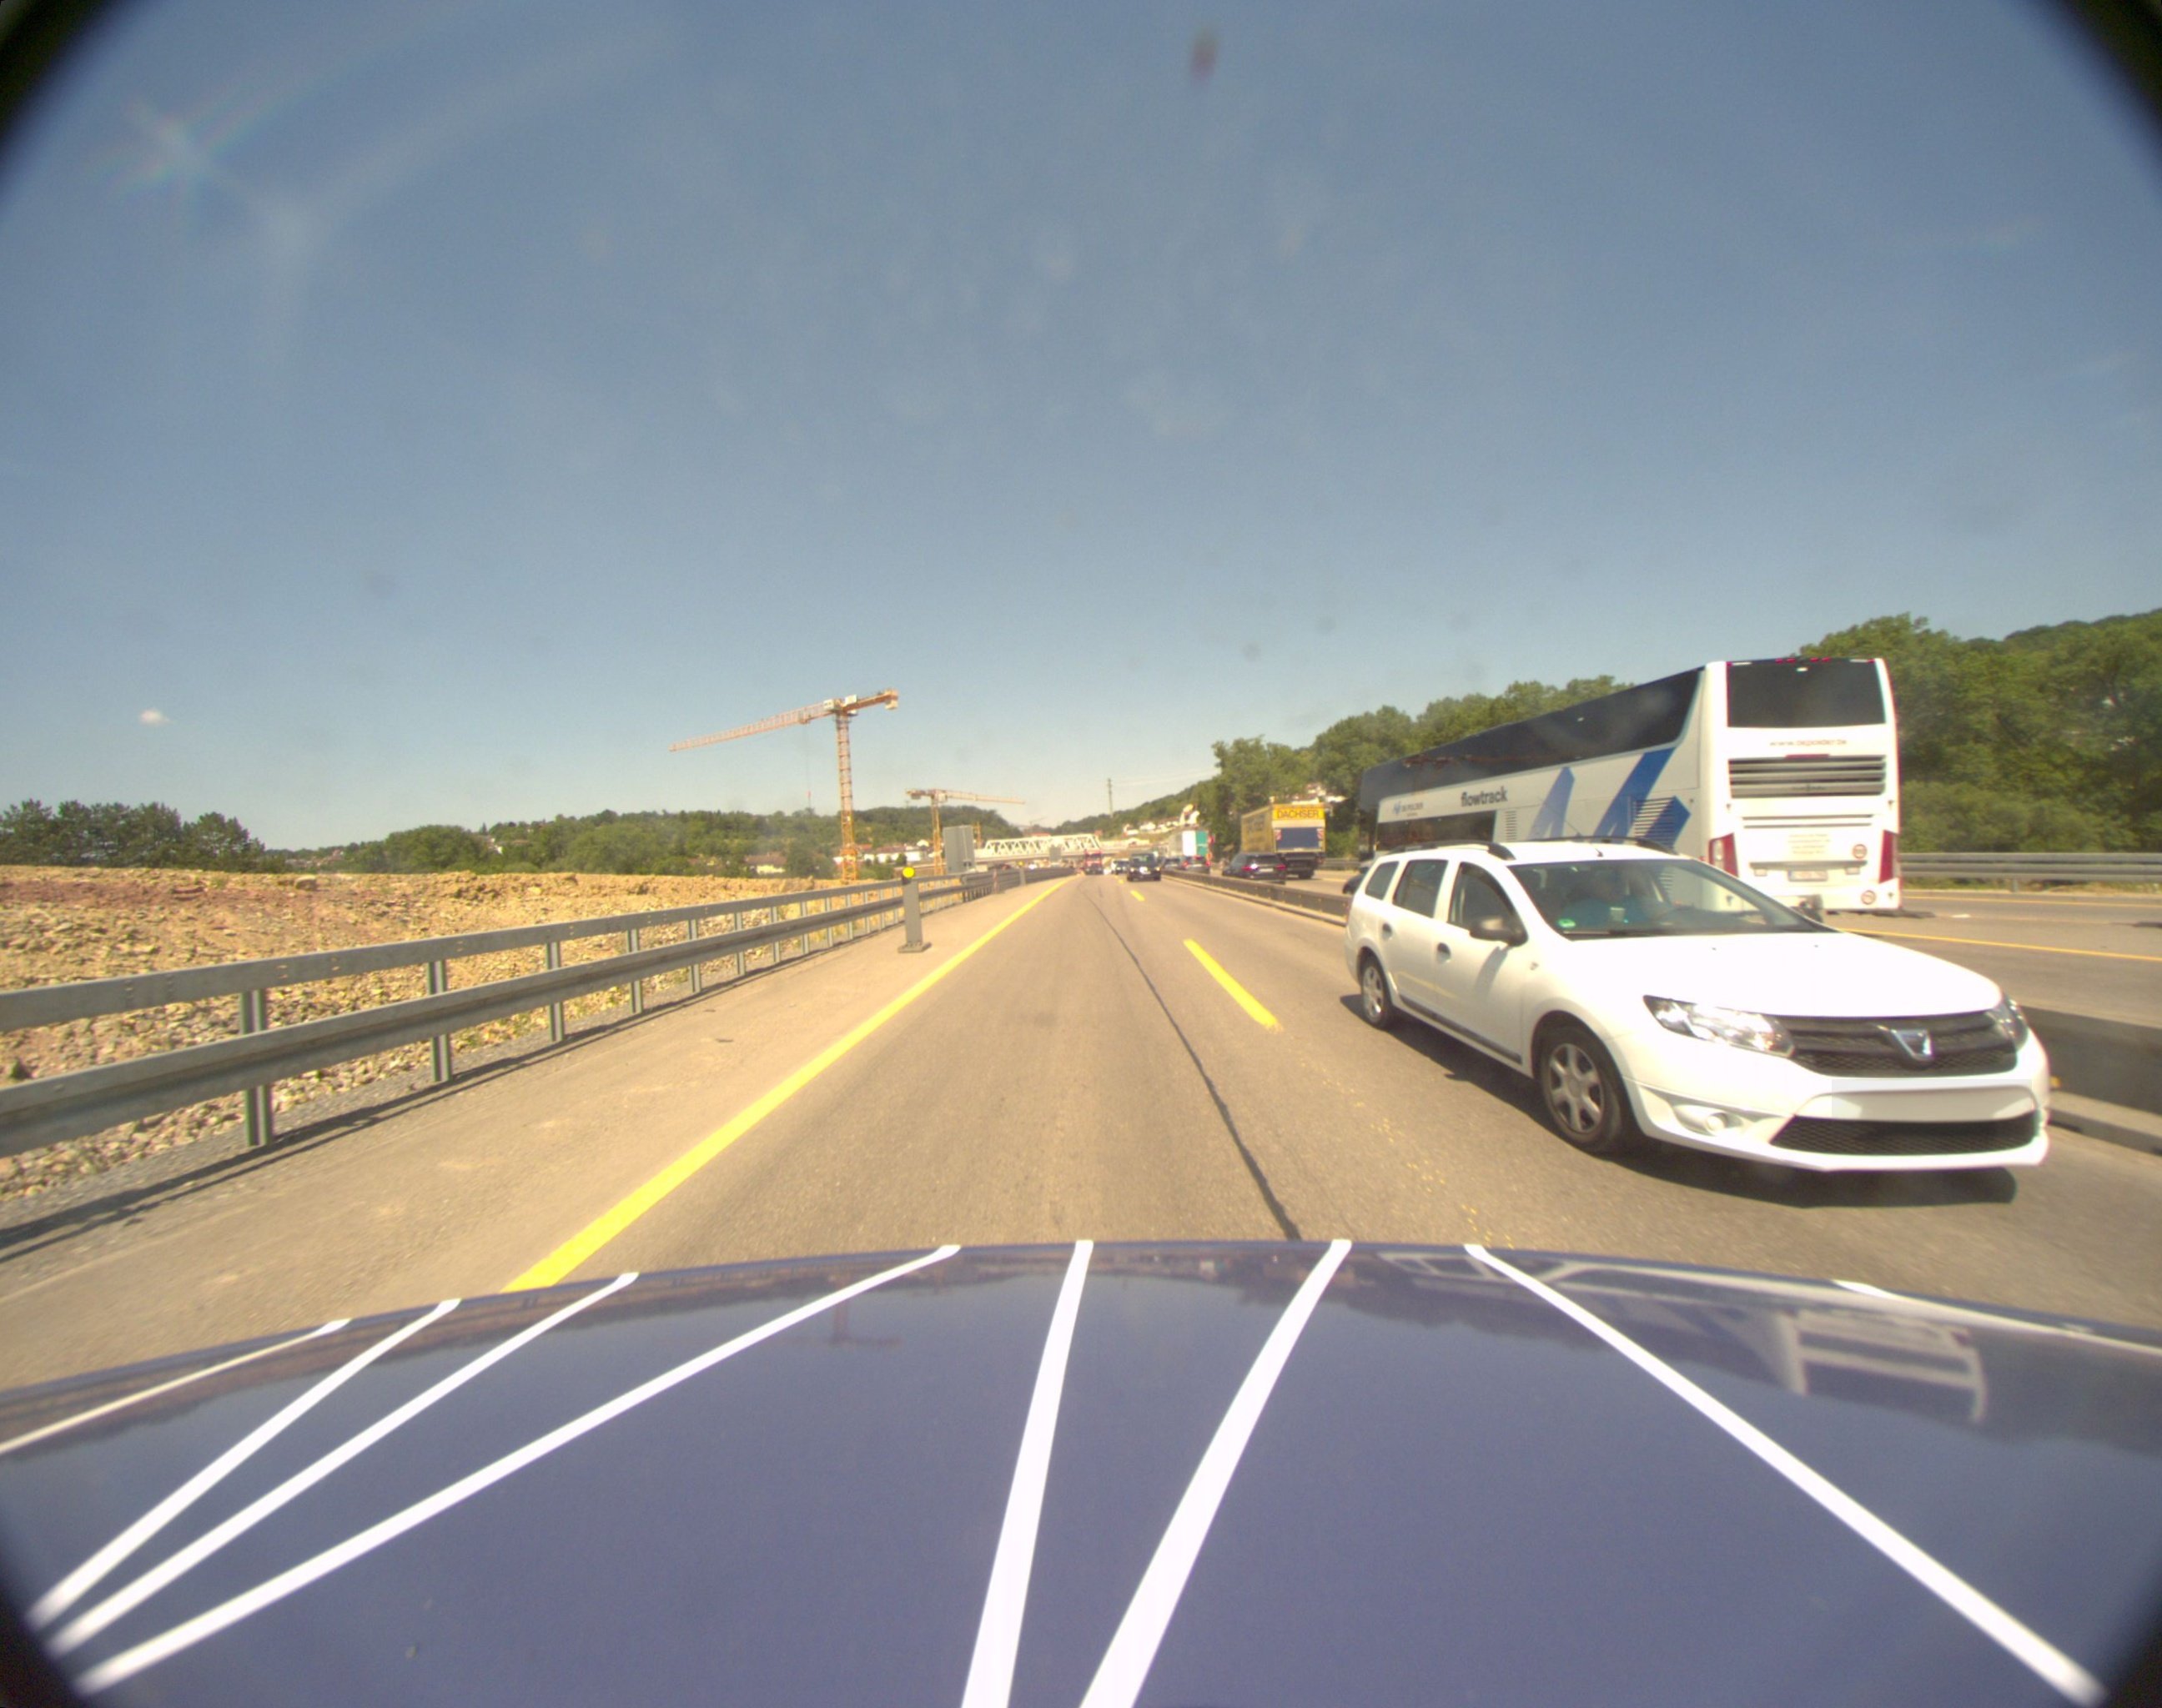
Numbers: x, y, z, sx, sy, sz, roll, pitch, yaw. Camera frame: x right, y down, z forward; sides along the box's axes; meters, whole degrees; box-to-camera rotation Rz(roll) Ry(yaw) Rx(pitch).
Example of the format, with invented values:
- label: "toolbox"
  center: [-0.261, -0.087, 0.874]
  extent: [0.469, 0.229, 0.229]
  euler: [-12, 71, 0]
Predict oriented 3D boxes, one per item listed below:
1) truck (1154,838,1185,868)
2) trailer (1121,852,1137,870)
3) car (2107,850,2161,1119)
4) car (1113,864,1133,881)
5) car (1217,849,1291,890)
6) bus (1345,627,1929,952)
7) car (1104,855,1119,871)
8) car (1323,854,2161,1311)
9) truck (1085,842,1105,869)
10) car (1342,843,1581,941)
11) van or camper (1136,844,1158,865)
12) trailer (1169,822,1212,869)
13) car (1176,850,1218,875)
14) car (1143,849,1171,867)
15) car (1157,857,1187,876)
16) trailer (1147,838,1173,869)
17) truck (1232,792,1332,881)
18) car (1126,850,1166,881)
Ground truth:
- label: "truck"
  center: [11.891, -0.048, 102.617]
  extent: [2.912, 3.742, 8.369]
  euler: [-3, -2, 0]
- label: "trailer"
  center: [12.759, 1.920, 202.455]
  extent: [2.814, 4.151, 11.800]
  euler: [-3, -2, -2]
- label: "car"
  center: [6.622, 0.662, 1.870]
  extent: [1.837, 1.415, 4.683]
  euler: [-2, 0, 0]
- label: "car"
  center: [4.149, 1.823, 75.366]
  extent: [1.791, 1.577, 4.001]
  euler: [-4, -1, 1]
- label: "car"
  center: [6.787, 0.558, 30.381]
  extent: [1.842, 1.435, 4.929]
  euler: [-2, 0, 0]
- label: "bus"
  center: [9.959, -0.872, 17.391]
  extent: [2.746, 4.239, 14.475]
  euler: [-2, 0, 0]
- label: "car"
  center: [4.047, 1.219, 99.875]
  extent: [1.791, 1.870, 4.001]
  euler: [-4, -1, 1]
- label: "car"
  center: [3.214, 0.803, 4.993]
  extent: [1.823, 1.521, 4.706]
  euler: [-2, 0, 2]
- label: "truck"
  center: [2.115, 0.226, 112.336]
  extent: [2.702, 3.704, 8.509]
  euler: [-2, 0, 2]
- label: "car"
  center: [6.797, 0.626, 14.364]
  extent: [1.923, 1.414, 5.091]
  euler: [-4, -1, 0]
- label: "van or camper"
  center: [8.337, 0.021, 96.496]
  extent: [2.224, 2.497, 6.533]
  euler: [-2, 0, 1]
- label: "trailer"
  center: [11.188, -0.788, 79.135]
  extent: [2.822, 4.404, 13.170]
  euler: [-2, 0, 2]
- label: "car"
  center: [7.333, 0.541, 48.378]
  extent: [1.864, 1.485, 4.904]
  euler: [0, 0, 0]
- label: "car"
  center: [7.768, 0.397, 78.509]
  extent: [2.377, 1.716, 5.781]
  euler: [-2, 0, 1]
- label: "car"
  center: [7.524, 1.025, 63.143]
  extent: [1.887, 1.423, 5.125]
  euler: [-2, 0, 1]
- label: "trailer"
  center: [12.446, 0.071, 120.877]
  extent: [3.109, 4.437, 13.023]
  euler: [-2, -1, 1]
- label: "truck"
  center: [10.527, -0.864, 41.084]
  extent: [2.809, 4.128, 10.079]
  euler: [-2, 0, 1]
- label: "car"
  center: [3.798, 0.624, 44.880]
  extent: [1.862, 1.683, 4.097]
  euler: [-2, 0, -1]
